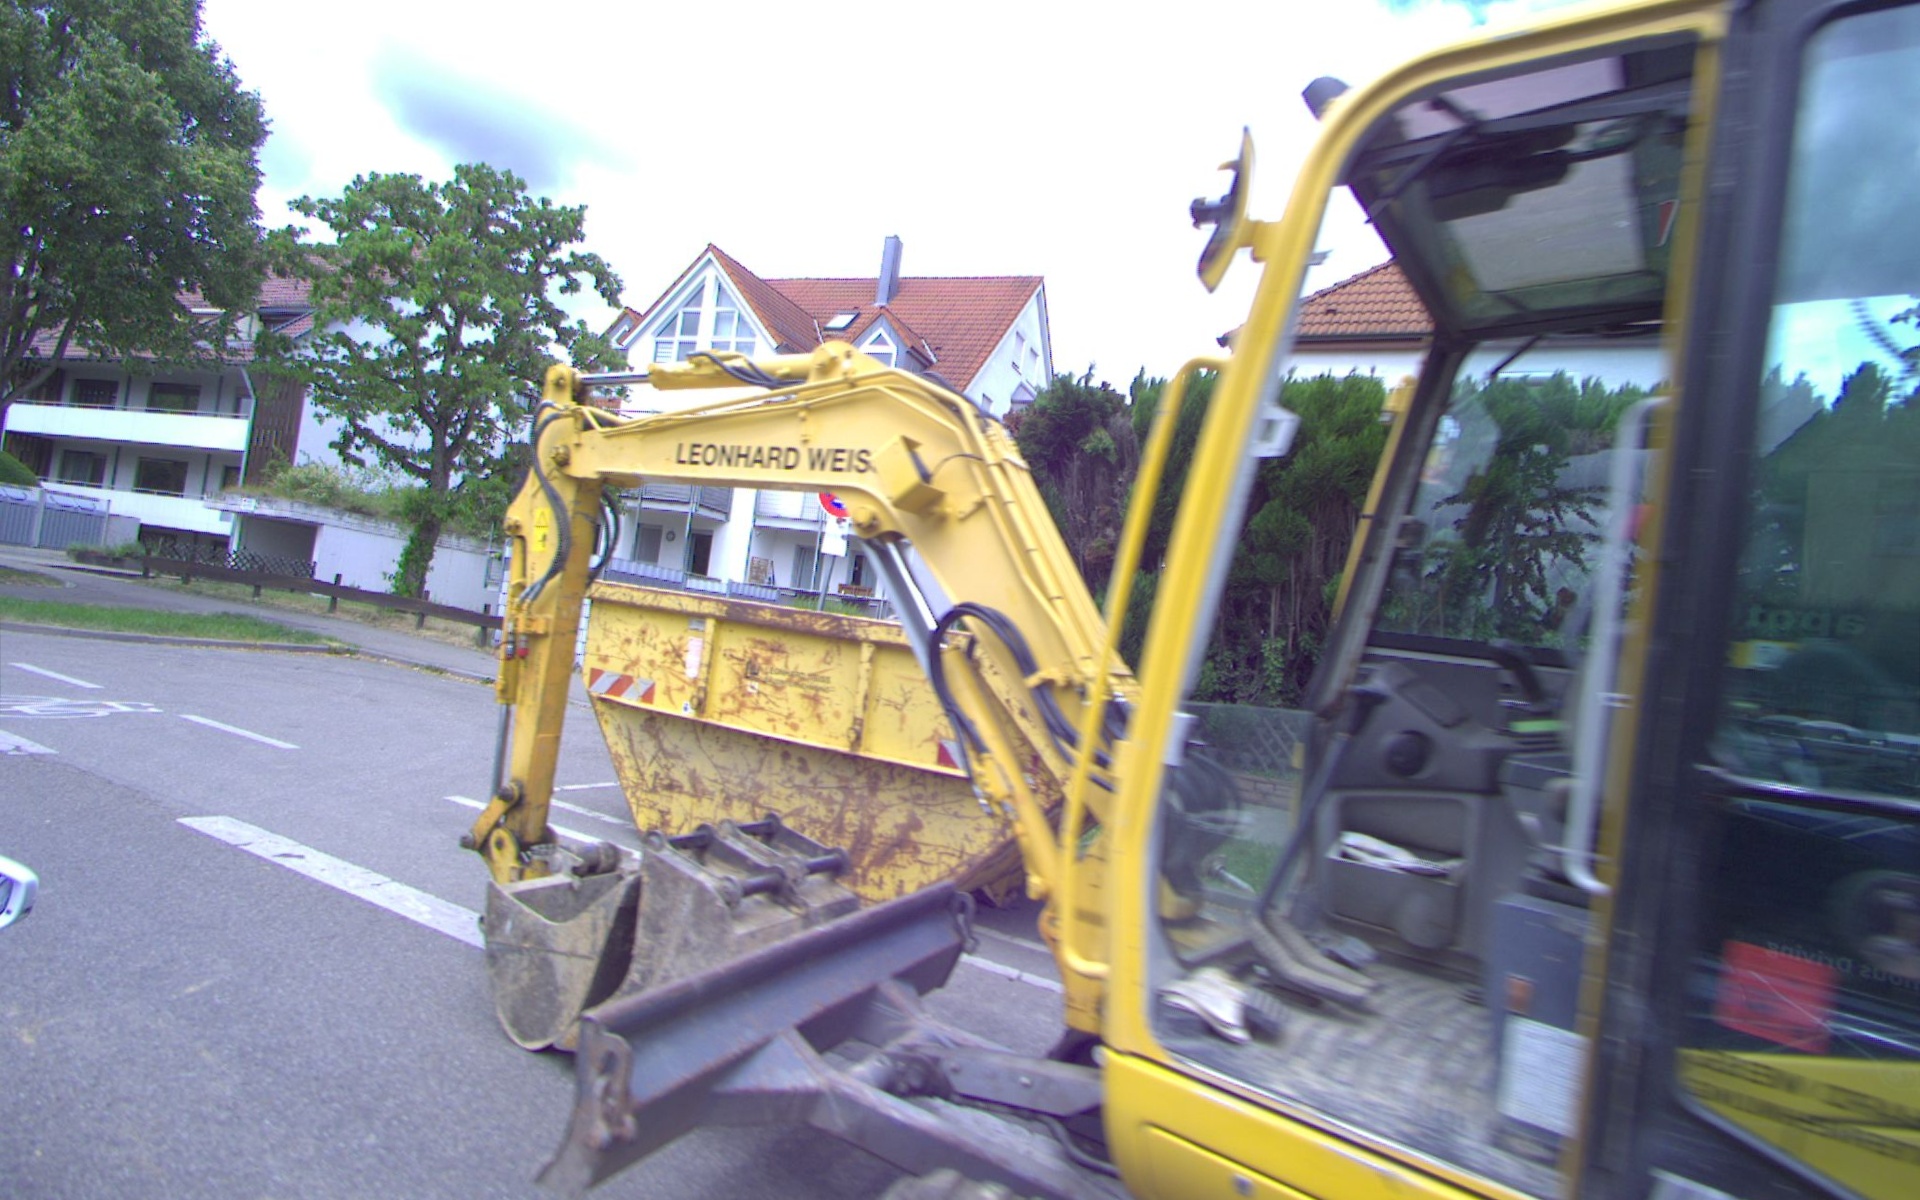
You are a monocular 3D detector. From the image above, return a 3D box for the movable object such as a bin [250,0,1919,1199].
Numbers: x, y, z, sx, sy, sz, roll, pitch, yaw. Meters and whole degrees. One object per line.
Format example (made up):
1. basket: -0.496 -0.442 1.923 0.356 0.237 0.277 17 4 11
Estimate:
1. movable object such as a bin: 0.662 0.261 1.999 3.677 2.603 1.772 7 -2 31
